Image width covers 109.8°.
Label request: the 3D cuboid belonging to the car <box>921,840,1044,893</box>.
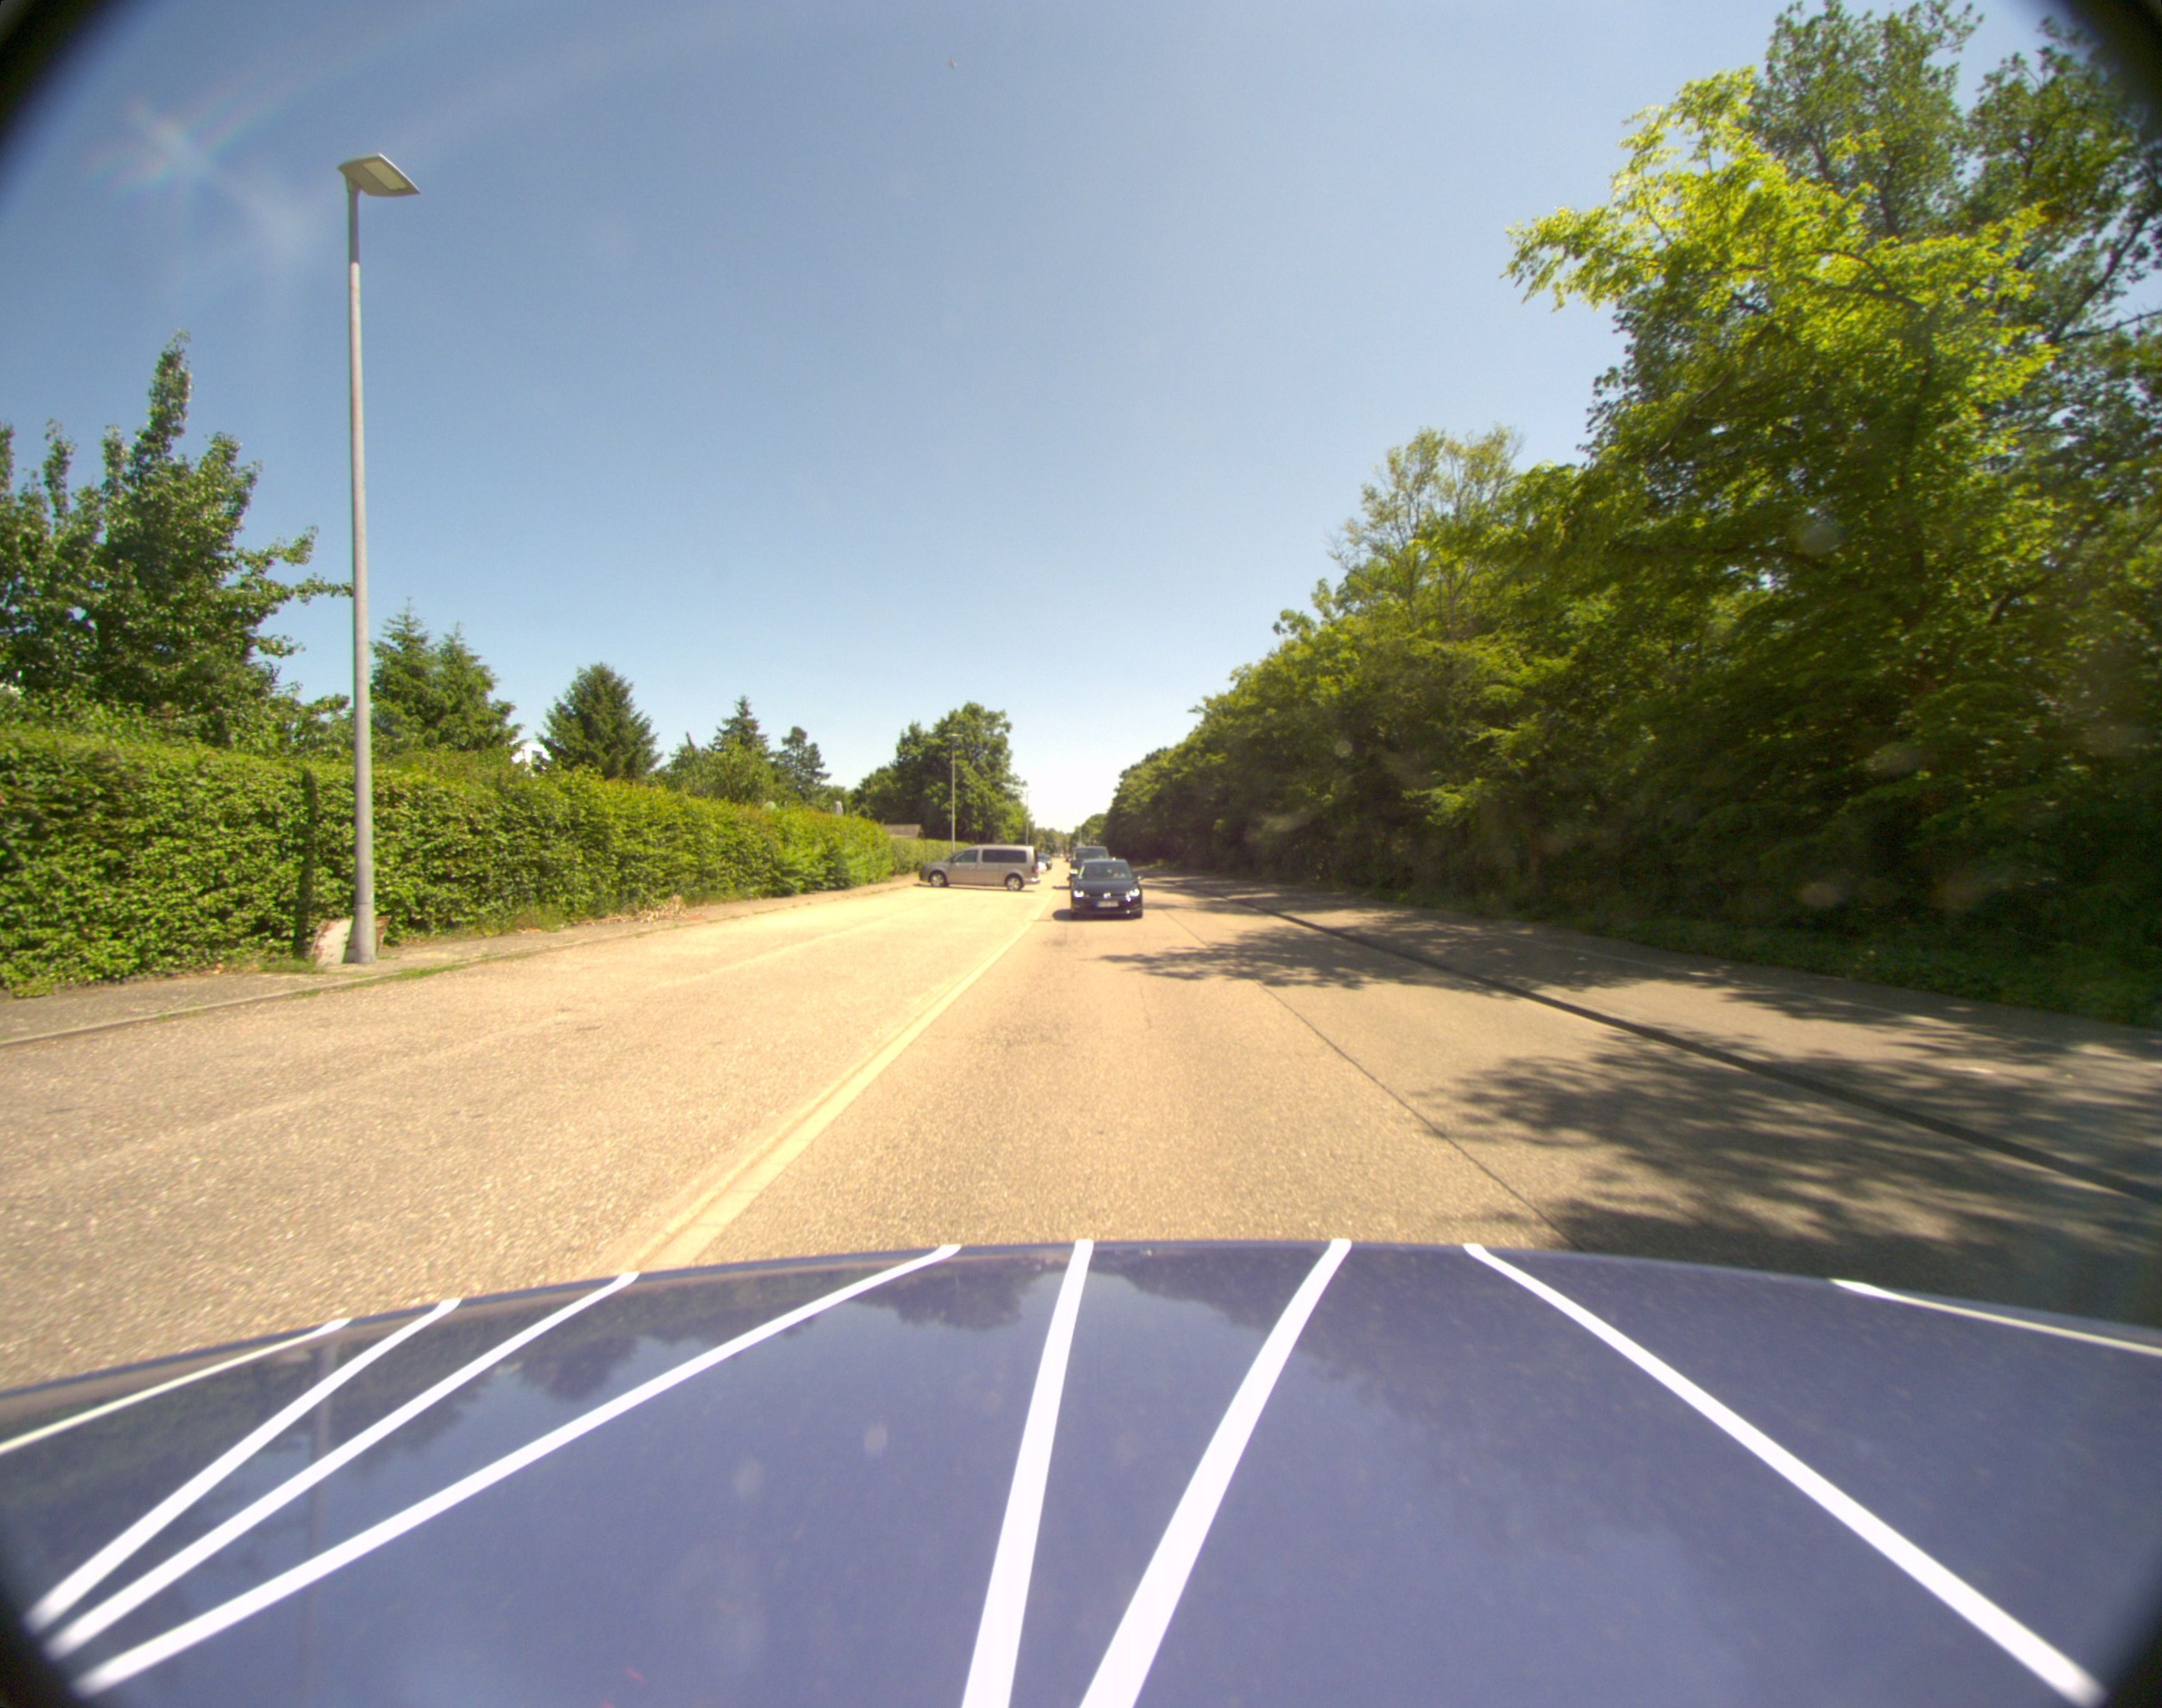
[{"bbox_3d":[-3.932,0.477,30.826,4.632,1.838,1.995,3,1,0],"label":"car"}]

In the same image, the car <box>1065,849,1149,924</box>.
[{"bbox_3d":[0.639,0.720,19.448,1.887,1.668,4.662,0,0,1],"label":"car"}]

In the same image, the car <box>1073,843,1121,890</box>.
[{"bbox_3d":[0.648,0.509,34.598,2.001,1.965,4.449,-1,1,-1],"label":"car"}]

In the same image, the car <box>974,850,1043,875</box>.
[{"bbox_3d":[-4.925,0.554,51.947,4.571,1.431,1.960,3,1,-4],"label":"car"}]

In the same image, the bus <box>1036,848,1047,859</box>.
[{"bbox_3d":[-12.006,-0.073,232.440,2.931,3.248,8.328,-1,1,0],"label":"bus"}]

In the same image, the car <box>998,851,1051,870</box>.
[{"bbox_3d":[-4.349,0.490,59.336,4.007,1.444,1.831,0,1,-1],"label":"car"}]

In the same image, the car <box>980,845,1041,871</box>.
[{"bbox_3d":[-5.226,0.291,56.895,4.268,1.688,1.853,3,1,0],"label":"car"}]
